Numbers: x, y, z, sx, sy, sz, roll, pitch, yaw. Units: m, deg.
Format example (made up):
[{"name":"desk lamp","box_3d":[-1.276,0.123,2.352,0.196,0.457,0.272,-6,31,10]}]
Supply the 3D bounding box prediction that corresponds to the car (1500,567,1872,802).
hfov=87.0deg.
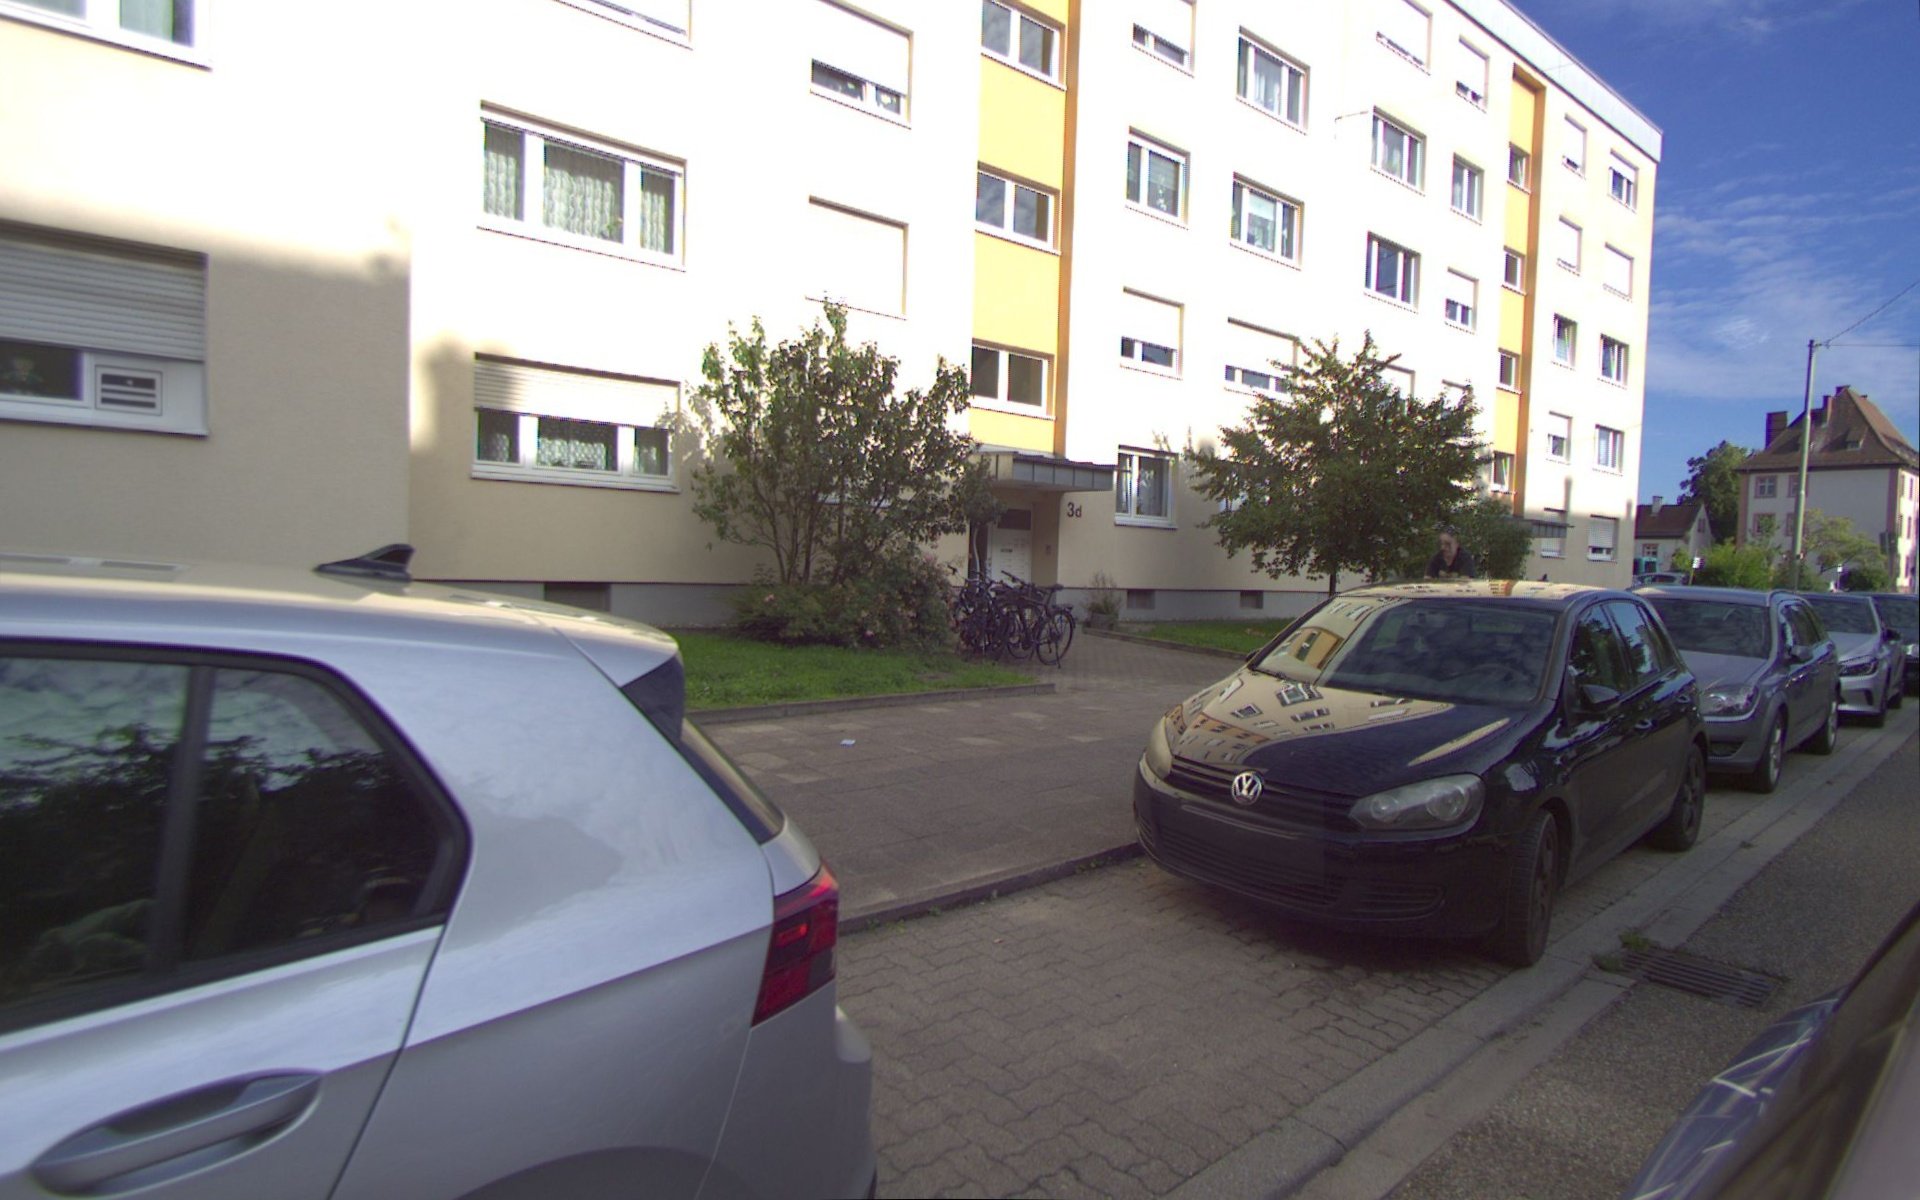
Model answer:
[{"name":"car","box_3d":[6.450,0.533,8.800,4.219,1.503,1.687,-1,4,-42]}]

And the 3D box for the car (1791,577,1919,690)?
[{"name":"car","box_3d":[14.468,0.452,15.861,3.808,1.519,1.686,0,3,-43]}]

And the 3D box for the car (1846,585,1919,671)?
[{"name":"car","box_3d":[18.171,0.495,18.993,4.132,1.453,1.687,0,3,-40]}]

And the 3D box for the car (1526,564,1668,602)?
[{"name":"car","box_3d":[26.665,-0.741,42.525,1.835,1.500,4.681,0,2,-36]}]

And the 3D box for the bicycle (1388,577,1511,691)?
[{"name":"bicycle","box_3d":[5.370,0.333,11.052,1.896,1.149,0.524,0,2,-43]}]

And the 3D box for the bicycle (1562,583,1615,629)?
[{"name":"bicycle","box_3d":[14.723,0.125,23.699,1.664,1.010,0.597,-2,3,-42]}]

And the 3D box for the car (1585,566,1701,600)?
[{"name":"car","box_3d":[31.897,-0.831,47.386,1.834,1.500,4.094,0,2,-32]}]

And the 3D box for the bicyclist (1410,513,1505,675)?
[{"name":"bicyclist","box_3d":[5.470,-0.077,11.125,0.878,1.699,0.624,0,2,-42]}]

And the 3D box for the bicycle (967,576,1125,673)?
[{"name":"bicycle","box_3d":[1.072,0.262,12.193,2.083,1.042,0.595,-1,5,-42]}]

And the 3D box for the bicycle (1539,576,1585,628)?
[{"name":"bicycle","box_3d":[14.357,0.034,24.117,1.564,1.150,0.446,-2,5,-42]}]

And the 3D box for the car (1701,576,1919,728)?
[{"name":"car","box_3d":[10.542,0.505,12.334,4.110,1.481,1.702,0,3,-44]}]

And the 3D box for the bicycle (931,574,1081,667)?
[{"name":"bicycle","box_3d":[0.608,0.224,12.575,2.060,1.042,0.502,-1,5,-42]}]

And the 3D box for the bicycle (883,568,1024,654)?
[{"name":"bicycle","box_3d":[-0.049,0.124,13.373,1.991,1.042,0.502,-1,5,-42]}]

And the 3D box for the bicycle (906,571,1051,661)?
[{"name":"bicycle","box_3d":[0.271,0.175,12.973,2.034,1.042,0.502,-1,5,-42]}]

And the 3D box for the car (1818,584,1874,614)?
[{"name":"car","box_3d":[54.211,-0.091,61.899,4.017,1.740,1.889,0,2,-39]}]

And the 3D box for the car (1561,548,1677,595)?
[{"name":"car","box_3d":[33.081,-1.457,50.909,2.321,2.219,4.284,0,2,-34]}]

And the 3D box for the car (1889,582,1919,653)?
[{"name":"car","box_3d":[21.962,0.388,22.498,4.138,1.486,1.685,0,3,-45]}]

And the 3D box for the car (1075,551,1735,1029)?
[{"name":"car","box_3d":[2.512,0.585,5.206,3.875,1.509,1.664,0,3,-43]}]

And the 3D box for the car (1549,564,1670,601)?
[{"name":"car","box_3d":[28.559,-0.793,44.620,1.834,1.500,4.094,0,2,-32]}]

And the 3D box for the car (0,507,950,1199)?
[{"name":"car","box_3d":[-2.067,0.588,0.933,3.989,1.433,1.665,-1,4,-42]}]
